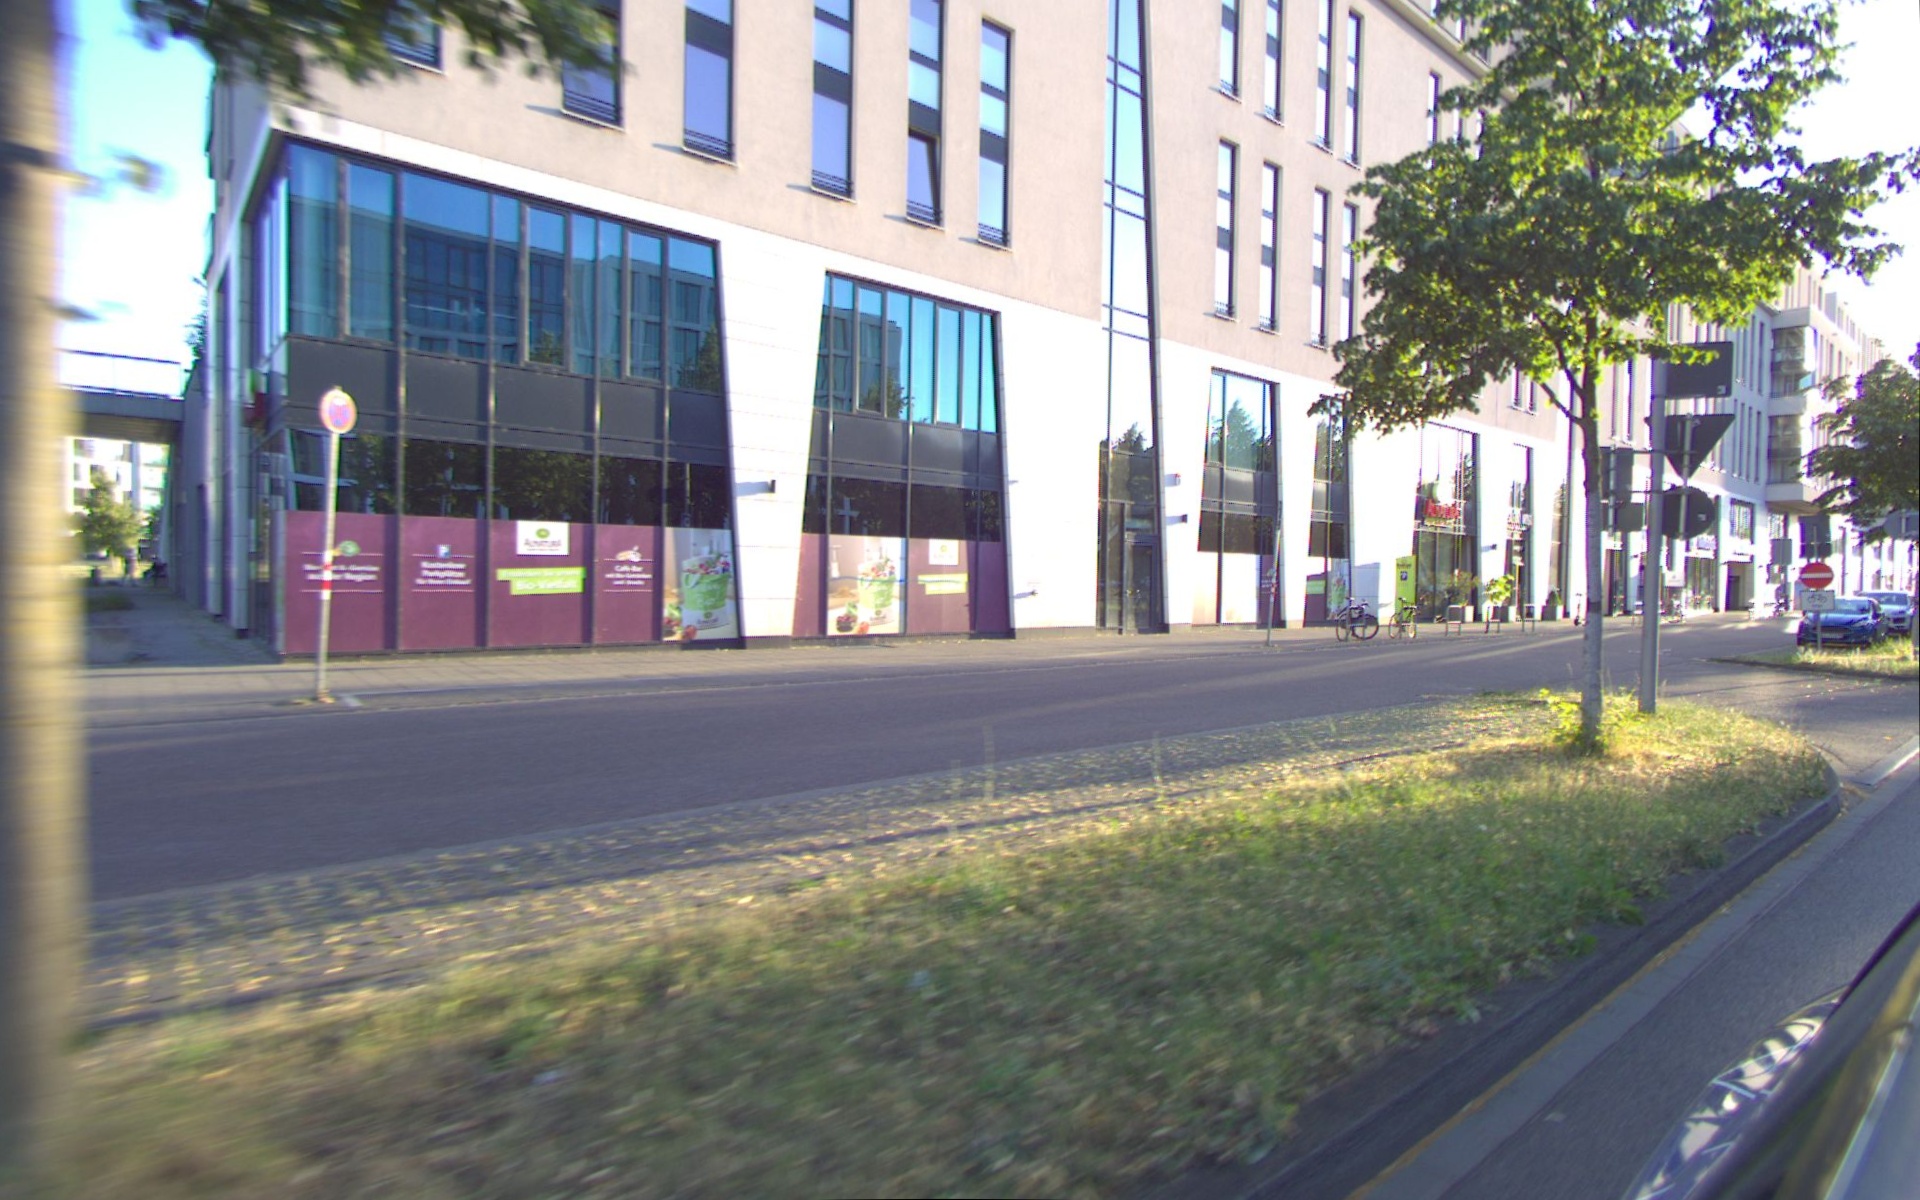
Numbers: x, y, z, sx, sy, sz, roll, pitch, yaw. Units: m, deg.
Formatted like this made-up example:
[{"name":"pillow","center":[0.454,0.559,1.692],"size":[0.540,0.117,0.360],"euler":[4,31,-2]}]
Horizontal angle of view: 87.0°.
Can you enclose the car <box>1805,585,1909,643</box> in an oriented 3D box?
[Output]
[{"name":"car","center":[25.948,0.353,29.229],"size":[4.194,1.549,1.727],"euler":[0,0,-41]}]

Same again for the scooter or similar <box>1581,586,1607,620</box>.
[{"name":"scooter or similar","center":[22.891,0.114,36.531],"size":[1.287,1.201,0.357],"euler":[0,3,-39]}]

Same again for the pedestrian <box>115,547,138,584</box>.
[{"name":"pedestrian","center":[-35.441,-1.471,43.043],"size":[0.732,1.549,0.724],"euler":[0,1,-42]}]

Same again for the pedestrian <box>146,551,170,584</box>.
[{"name":"pedestrian","center":[-33.827,-1.362,42.668],"size":[0.732,1.359,0.724],"euler":[0,1,-43]}]

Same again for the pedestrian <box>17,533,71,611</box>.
[{"name":"pedestrian","center":[-20.772,-0.644,22.974],"size":[0.771,1.713,1.122],"euler":[0,1,-35]}]

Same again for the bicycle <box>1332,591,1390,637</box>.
[{"name":"bicycle","center":[9.938,0.333,25.047],"size":[1.740,1.085,0.448],"euler":[0,3,-37]}]

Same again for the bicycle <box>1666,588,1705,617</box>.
[{"name":"bicycle","center":[30.488,0.105,42.532],"size":[1.796,1.138,0.573],"euler":[1,3,-29]}]

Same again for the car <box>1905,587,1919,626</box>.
[{"name":"car","center":[40.099,0.267,41.247],"size":[4.404,1.549,1.858],"euler":[0,0,-41]}]

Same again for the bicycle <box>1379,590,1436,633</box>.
[{"name":"bicycle","center":[11.857,0.293,26.801],"size":[1.925,1.073,0.519],"euler":[-1,4,-39]}]

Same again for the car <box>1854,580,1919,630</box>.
[{"name":"car","center":[34.488,0.159,36.977],"size":[5.066,1.736,1.955],"euler":[0,0,-39]}]

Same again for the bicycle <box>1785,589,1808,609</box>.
[{"name":"bicycle","center":[46.159,-0.059,55.836],"size":[2.019,1.051,0.654],"euler":[0,2,-40]}]

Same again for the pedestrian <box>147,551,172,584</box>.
[{"name":"pedestrian","center":[-33.145,-1.356,41.900],"size":[0.732,1.359,0.724],"euler":[0,1,-43]}]
